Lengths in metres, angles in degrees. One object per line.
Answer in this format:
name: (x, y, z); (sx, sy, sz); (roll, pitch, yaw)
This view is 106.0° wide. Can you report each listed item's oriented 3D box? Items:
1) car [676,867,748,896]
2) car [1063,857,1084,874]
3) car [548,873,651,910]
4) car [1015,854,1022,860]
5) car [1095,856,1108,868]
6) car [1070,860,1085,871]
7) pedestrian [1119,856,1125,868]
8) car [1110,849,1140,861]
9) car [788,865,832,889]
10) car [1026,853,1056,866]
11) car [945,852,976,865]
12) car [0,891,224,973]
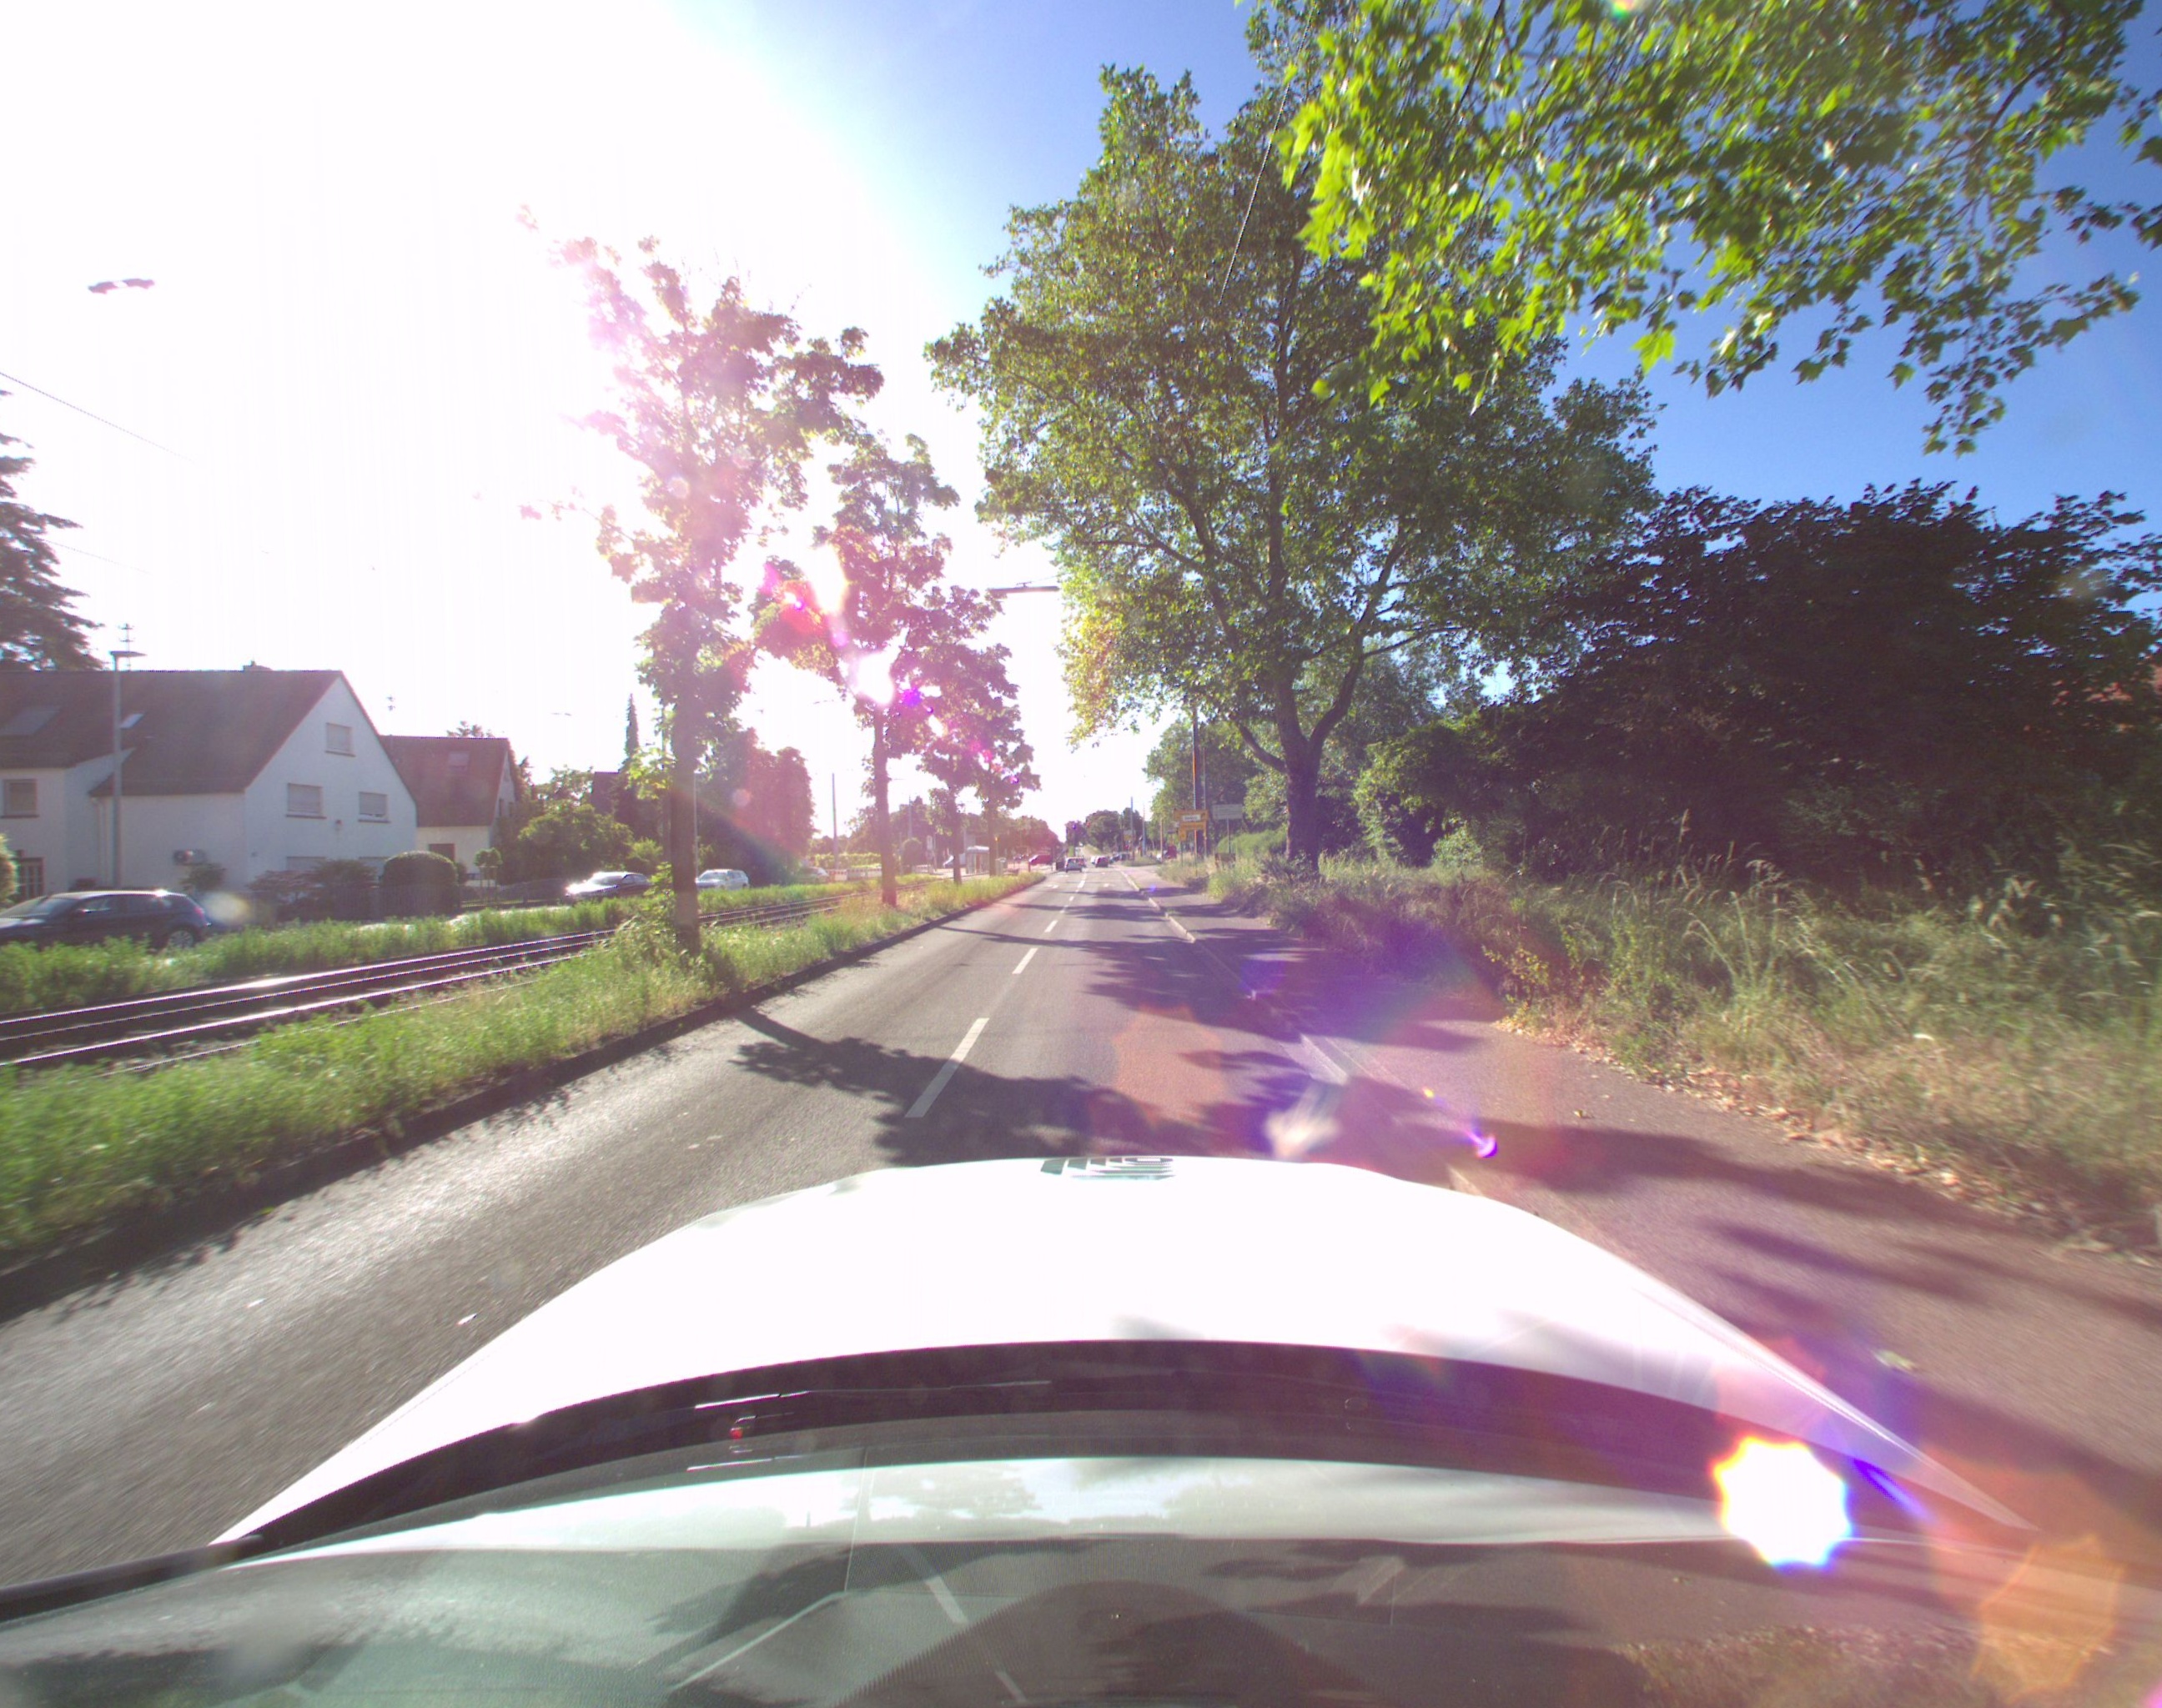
car: (-20.168, 1.463, 44.713); (1.853, 1.431, 4.462); (0, -1, 1)
car: (-0.707, 1.106, 79.703); (1.853, 1.601, 4.228); (0, -1, 1)
car: (-20.436, 1.574, 34.814); (1.853, 1.413, 4.159); (0, -1, 1)
car: (-16.237, 0.710, 211.616); (1.787, 1.559, 4.222); (0, -1, -3)
car: (2.927, 1.128, 114.553); (1.785, 1.559, 4.228); (0, -1, 1)
car: (-0.512, 1.669, 119.768); (1.986, 1.603, 4.474); (0, -1, 1)
pedestrian: (6.485, 1.291, 127.916); (0.922, 1.835, 0.639); (-1, -1, 6)
car: (8.291, 0.231, 152.890); (5.170, 2.275, 1.985); (0, -1, -23)
car: (-19.844, 1.644, 59.847); (1.771, 1.707, 4.228); (0, -1, 1)
car: (-7.429, 1.064, 150.694); (5.170, 2.275, 1.985); (0, -1, -23)
car: (-22.017, 0.794, 148.997); (5.266, 2.354, 1.851); (0, -1, -23)
car: (-20.834, 1.527, 16.736); (1.852, 1.369, 4.230); (0, -1, 2)
